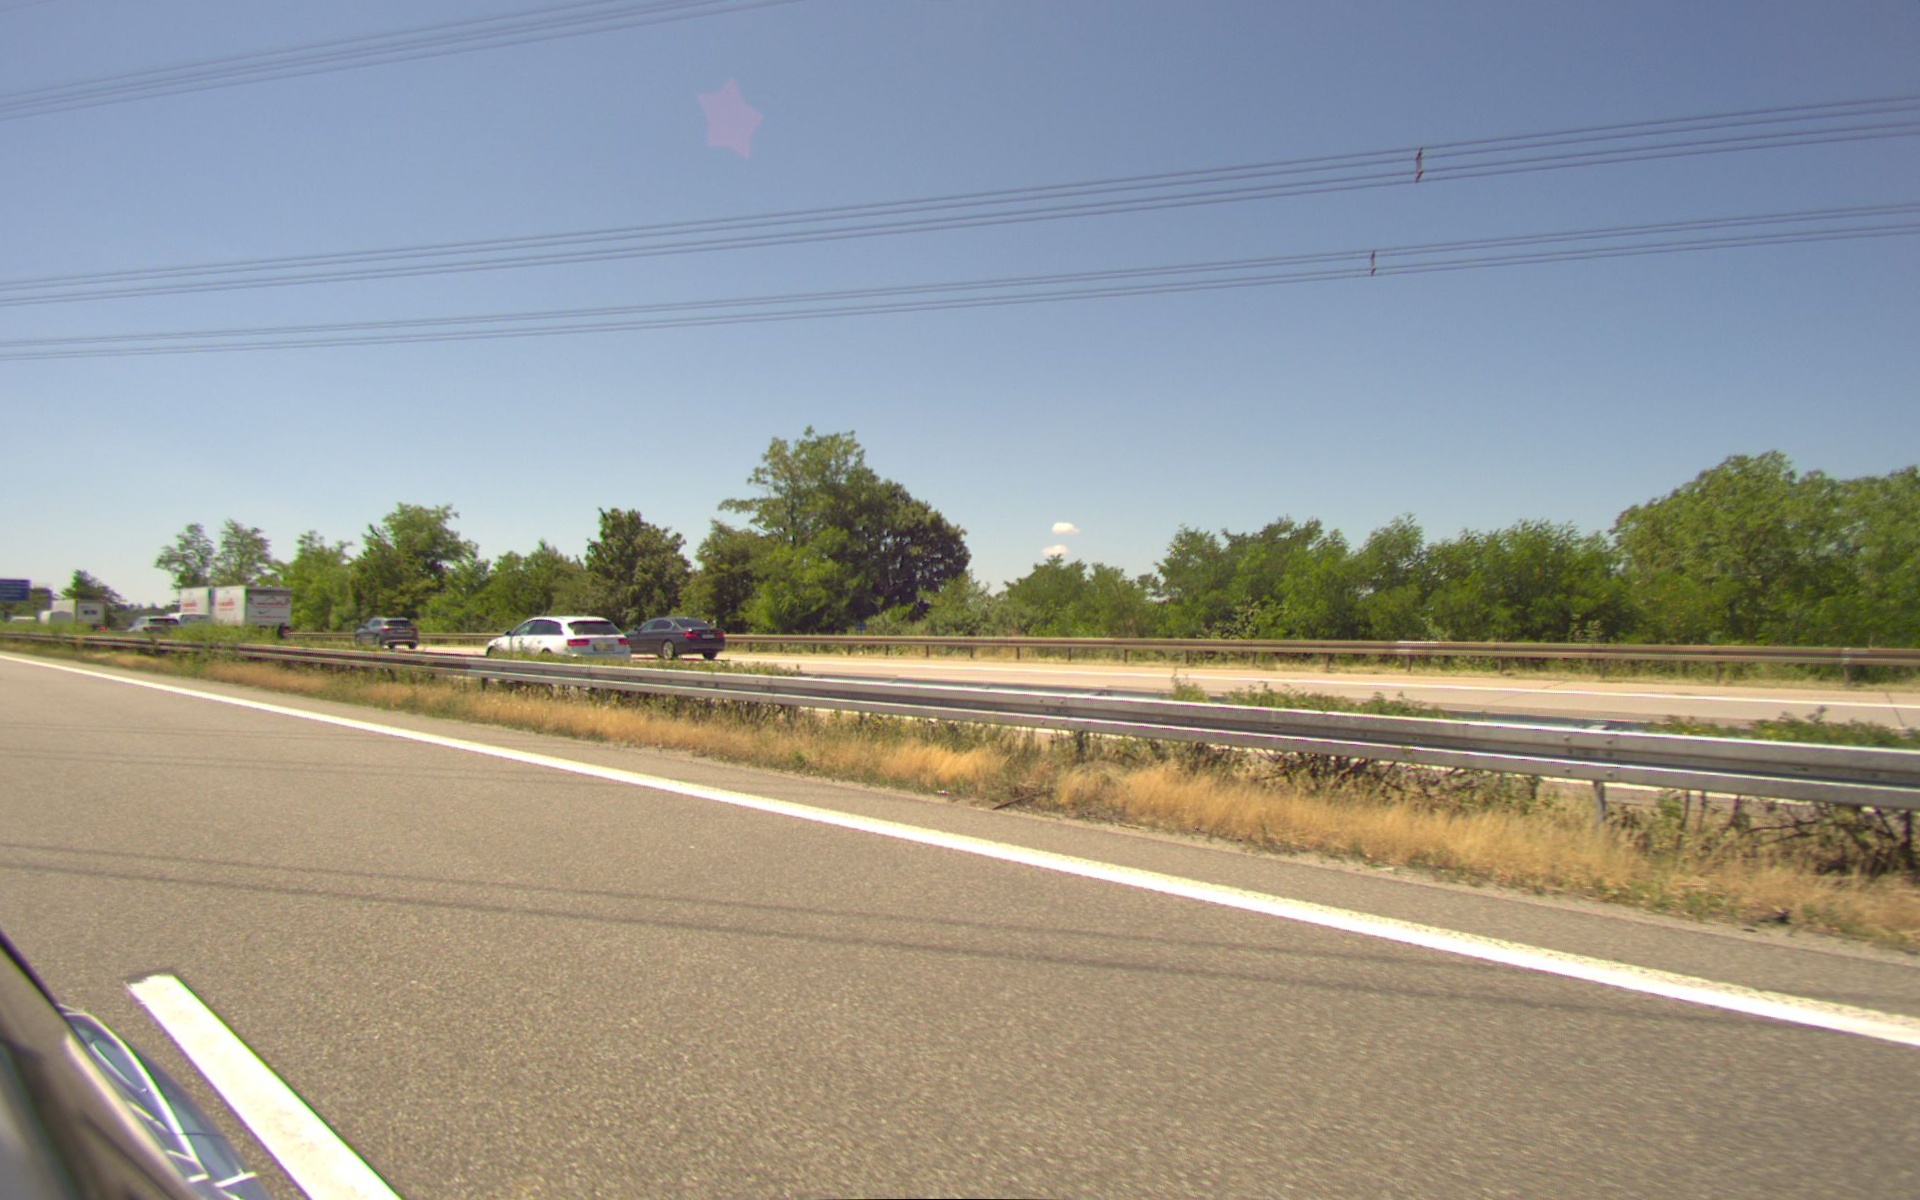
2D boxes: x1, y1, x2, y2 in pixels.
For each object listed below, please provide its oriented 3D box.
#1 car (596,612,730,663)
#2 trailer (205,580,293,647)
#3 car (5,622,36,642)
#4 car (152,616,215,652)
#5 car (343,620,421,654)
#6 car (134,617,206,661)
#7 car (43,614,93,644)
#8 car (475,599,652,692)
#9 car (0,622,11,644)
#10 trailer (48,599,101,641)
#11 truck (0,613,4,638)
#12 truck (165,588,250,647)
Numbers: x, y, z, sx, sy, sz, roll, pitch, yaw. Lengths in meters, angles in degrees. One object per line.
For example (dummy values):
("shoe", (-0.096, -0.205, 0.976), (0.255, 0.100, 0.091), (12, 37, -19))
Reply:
("car", (-10.428, 1.294, 35.348), (5.083, 1.674, 1.974), (-1, -2, 39))
("trailer", (-47.158, 0.952, 67.004), (8.321, 4.196, 2.812), (-2, -1, 41))
("car", (-128.317, 4.374, 138.221), (5.713, 2.635, 2.393), (-2, -3, 41))
("car", (-46.771, 2.044, 60.919), (5.698, 2.029, 1.973), (-2, -1, 41))
("car", (-29.789, 1.889, 52.083), (5.064, 1.597, 1.973), (-2, -1, 41))
("car", (-38.850, 1.883, 49.753), (4.624, 2.029, 1.973), (-2, -1, 41))
("car", (-80.941, 2.664, 91.830), (7.117, 2.599, 2.457), (-2, -1, 41))
("car", (-9.728, 1.056, 24.657), (4.918, 2.029, 1.973), (-2, -1, 41))
("car", (-94.062, 3.224, 98.180), (4.554, 2.029, 2.457), (-2, -1, 41))
("trailer", (-96.122, 2.233, 109.736), (14.423, 4.322, 2.398), (-2, -1, 41))
("truck", (-155.880, 4.208, 161.553), (17.004, 3.831, 3.210), (-2, -1, 41))
("truck", (-54.438, 1.304, 73.052), (10.586, 3.980, 2.664), (-2, -1, 41))
